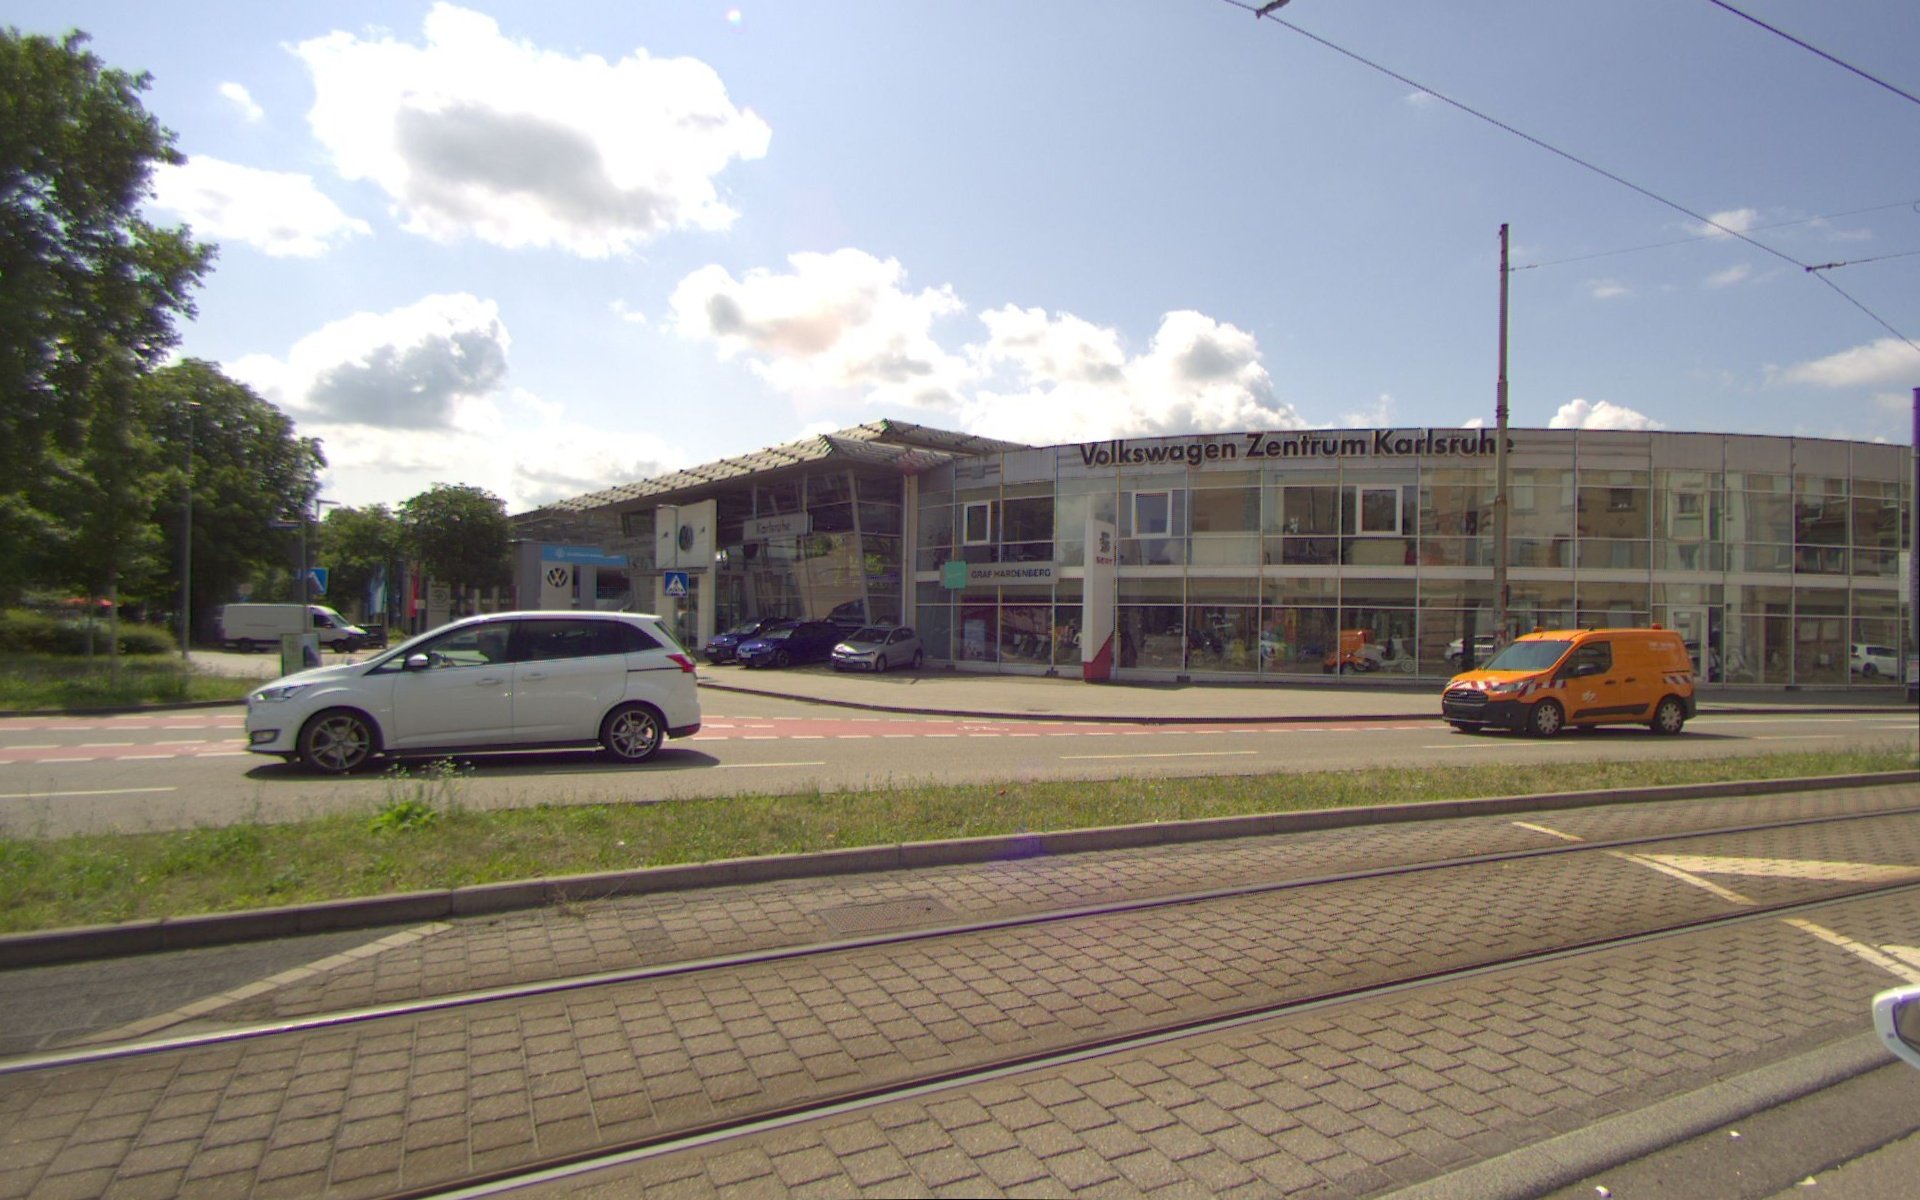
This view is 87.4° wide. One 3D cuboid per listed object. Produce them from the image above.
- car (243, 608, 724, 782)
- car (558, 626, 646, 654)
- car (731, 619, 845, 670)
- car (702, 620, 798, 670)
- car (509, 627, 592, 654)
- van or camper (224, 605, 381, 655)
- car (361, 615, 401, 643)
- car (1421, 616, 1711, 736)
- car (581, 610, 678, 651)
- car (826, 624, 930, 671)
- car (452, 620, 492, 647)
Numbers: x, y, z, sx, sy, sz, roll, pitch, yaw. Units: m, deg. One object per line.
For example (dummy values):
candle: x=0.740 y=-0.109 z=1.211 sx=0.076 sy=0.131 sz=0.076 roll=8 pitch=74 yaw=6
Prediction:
car: x=-5.023 y=0.962 z=11.131 sx=4.431 sy=1.625 sz=1.762 roll=2 pitch=-1 yaw=-25
car: x=-16.947 y=1.869 z=47.627 sx=1.535 sy=1.262 sz=3.621 roll=0 pitch=-2 yaw=41
car: x=-5.838 y=1.474 z=34.497 sx=1.634 sy=1.493 sz=3.772 roll=0 pitch=1 yaw=37
car: x=-7.659 y=1.622 z=36.925 sx=1.742 sy=1.695 sz=3.639 roll=1 pitch=-1 yaw=21
car: x=-20.770 y=2.049 z=51.030 sx=1.533 sy=1.262 sz=3.625 roll=0 pitch=-2 yaw=38
van or camper: x=-35.507 y=1.620 z=54.511 sx=6.570 sy=2.532 sz=2.572 roll=1 pitch=-1 yaw=-15
car: x=-37.427 y=1.861 z=65.018 sx=1.974 sy=1.706 sz=3.974 roll=1 pitch=-1 yaw=-26
car: x=10.423 y=1.262 z=17.361 sx=4.296 sy=1.890 sz=1.911 roll=1 pitch=-2 yaw=-17
car: x=-15.048 y=1.401 z=45.830 sx=3.838 sy=1.797 sz=1.679 roll=2 pitch=-2 yaw=-43
car: x=-2.685 y=1.573 z=33.897 sx=1.800 sy=1.466 sz=3.944 roll=0 pitch=-1 yaw=25
car: x=-31.116 y=2.112 z=64.159 sx=1.971 sy=1.639 sz=3.979 roll=2 pitch=-1 yaw=-22
